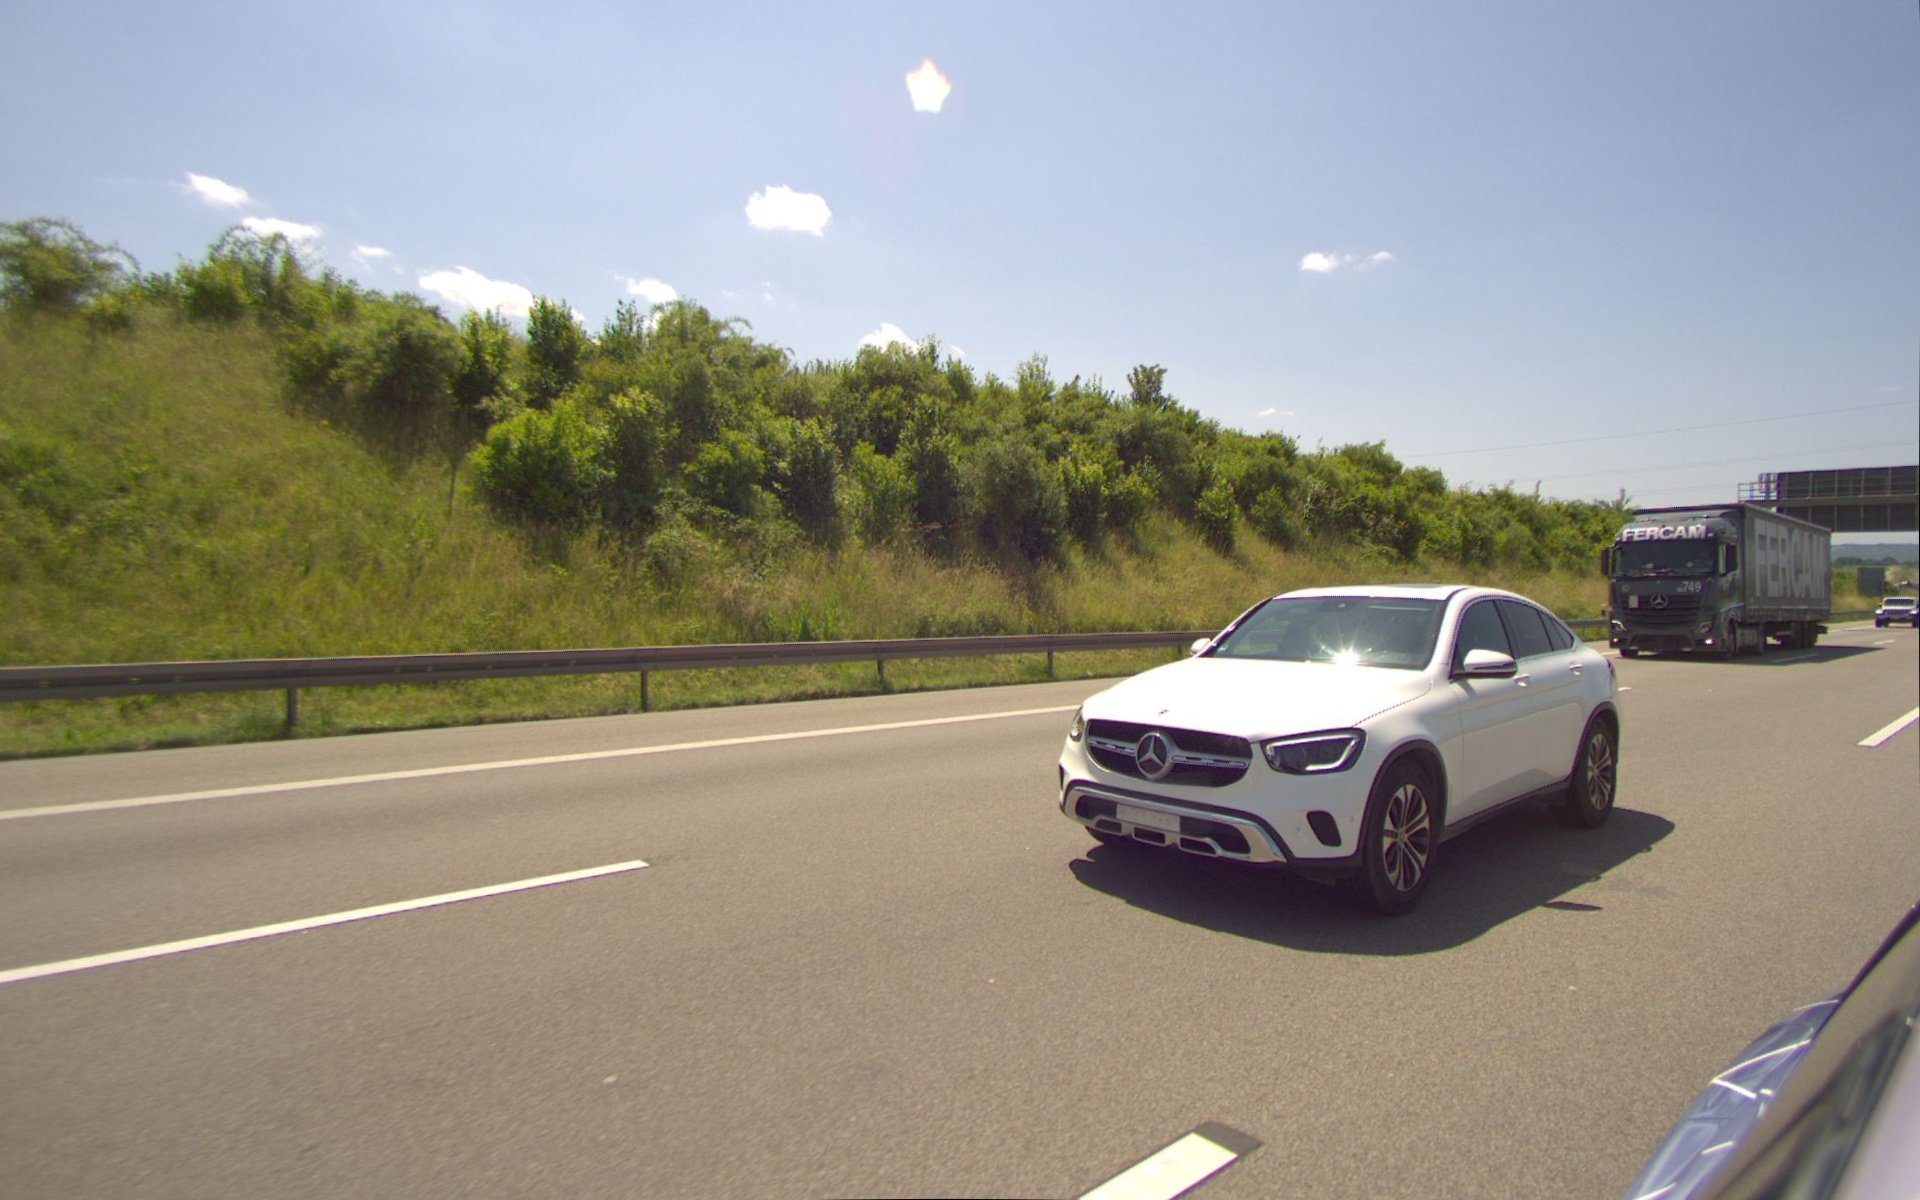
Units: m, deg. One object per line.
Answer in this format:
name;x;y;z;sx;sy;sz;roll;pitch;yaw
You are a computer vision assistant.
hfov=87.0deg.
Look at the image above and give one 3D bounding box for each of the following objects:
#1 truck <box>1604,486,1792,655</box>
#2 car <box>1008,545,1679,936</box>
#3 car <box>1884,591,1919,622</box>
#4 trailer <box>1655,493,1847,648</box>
truck;20.306;-0.752;27.712;6.671;4.071;2.757;-1;0;-41
car;2.820;0.547;6.578;5.140;1.600;1.917;-1;0;-42
car;57.946;0.345;61.634;4.177;1.827;2.037;0;0;-42
trailer;25.523;-0.876;32.314;11.603;4.207;2.730;-1;1;-41
